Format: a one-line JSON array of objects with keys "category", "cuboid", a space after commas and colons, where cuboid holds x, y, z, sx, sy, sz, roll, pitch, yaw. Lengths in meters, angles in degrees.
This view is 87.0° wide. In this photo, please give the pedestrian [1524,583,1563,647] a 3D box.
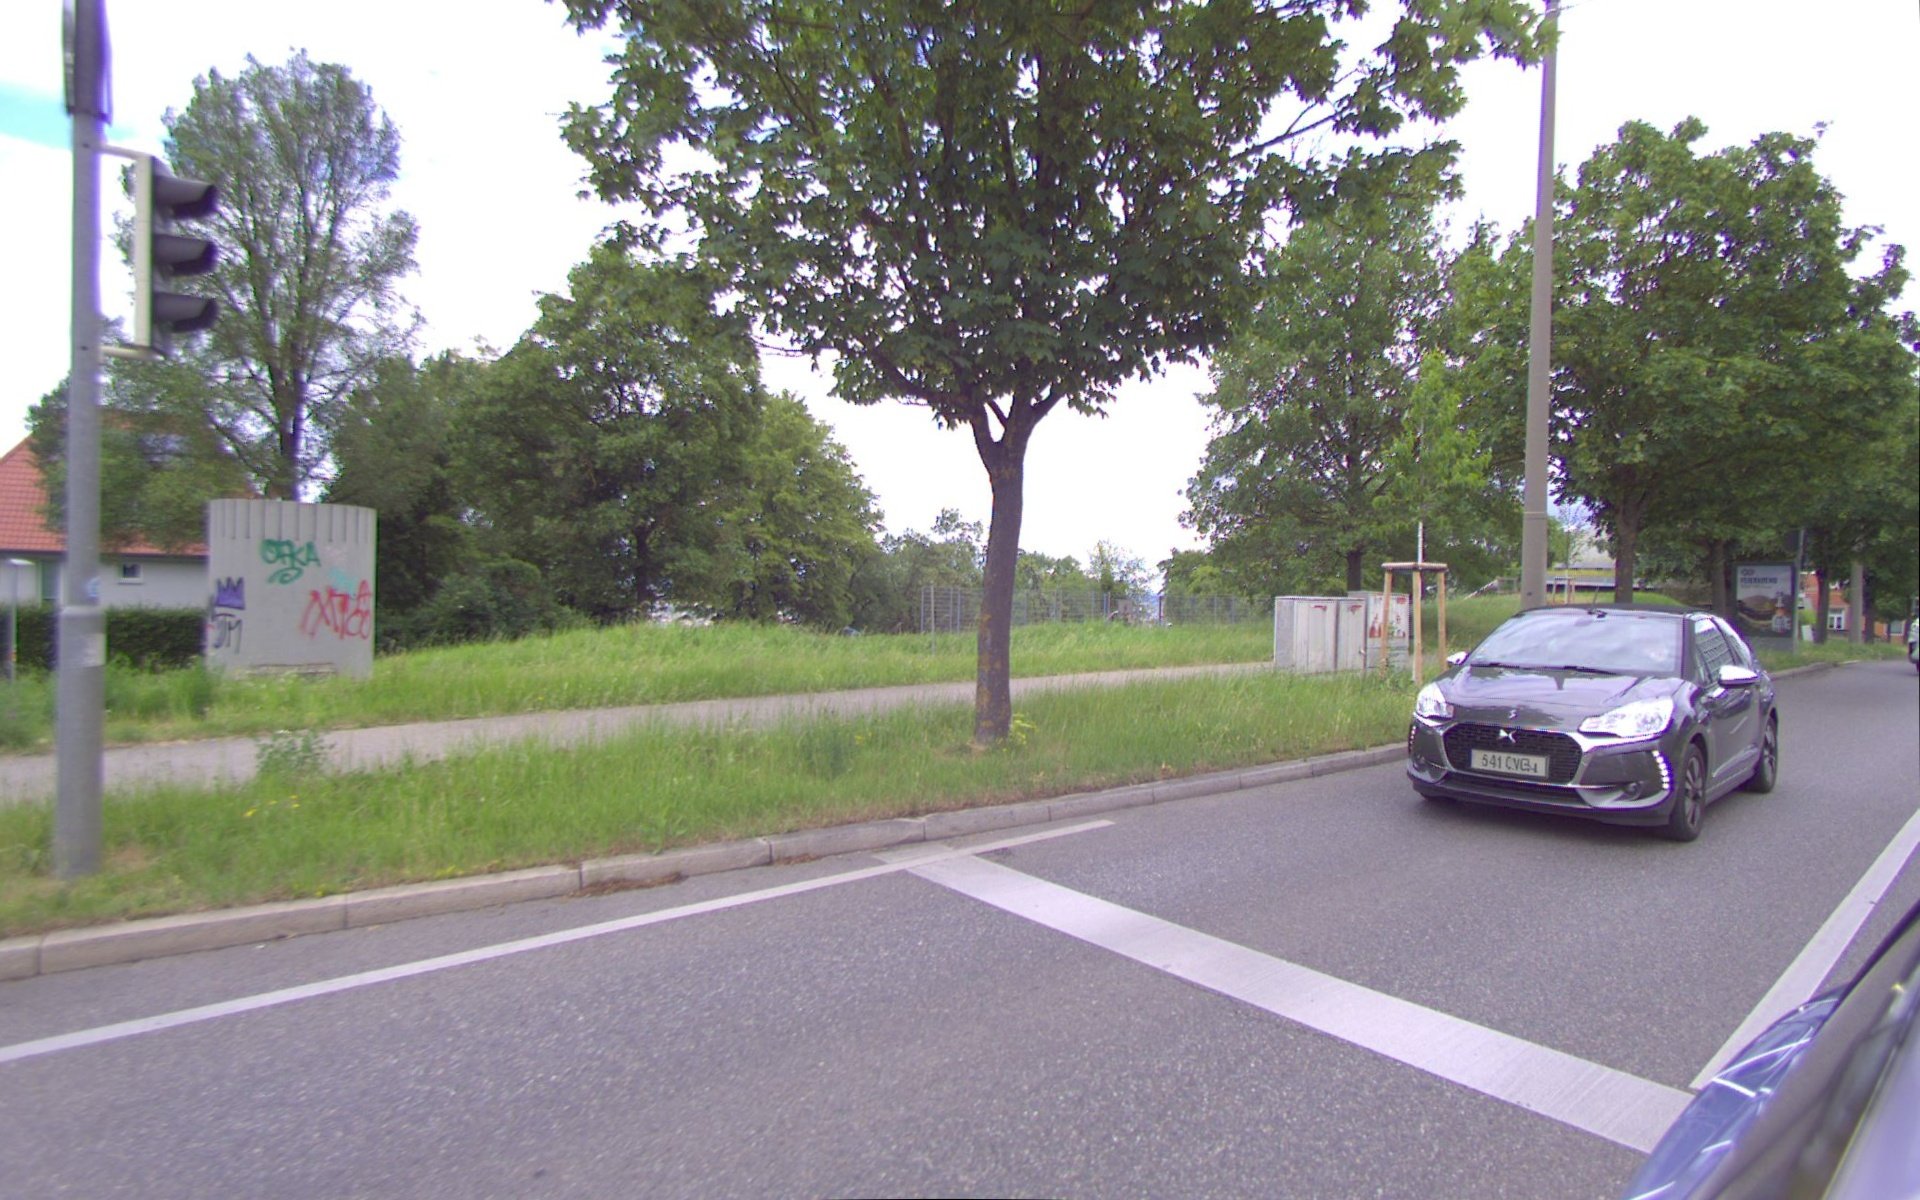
[{"category": "pedestrian", "cuboid": [15.481, 0.404, 26.849, 0.690, 1.623, 0.542, 2, 4, -41]}]

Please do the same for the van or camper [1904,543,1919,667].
[{"category": "van or camper", "cuboid": [24.209, 0.146, 22.633, 6.167, 2.724, 2.116, 1, -1, -22]}]

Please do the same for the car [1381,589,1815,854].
[{"category": "car", "cuboid": [4.946, 0.703, 7.618, 3.991, 1.479, 1.704, 1, -1, -41]}]
